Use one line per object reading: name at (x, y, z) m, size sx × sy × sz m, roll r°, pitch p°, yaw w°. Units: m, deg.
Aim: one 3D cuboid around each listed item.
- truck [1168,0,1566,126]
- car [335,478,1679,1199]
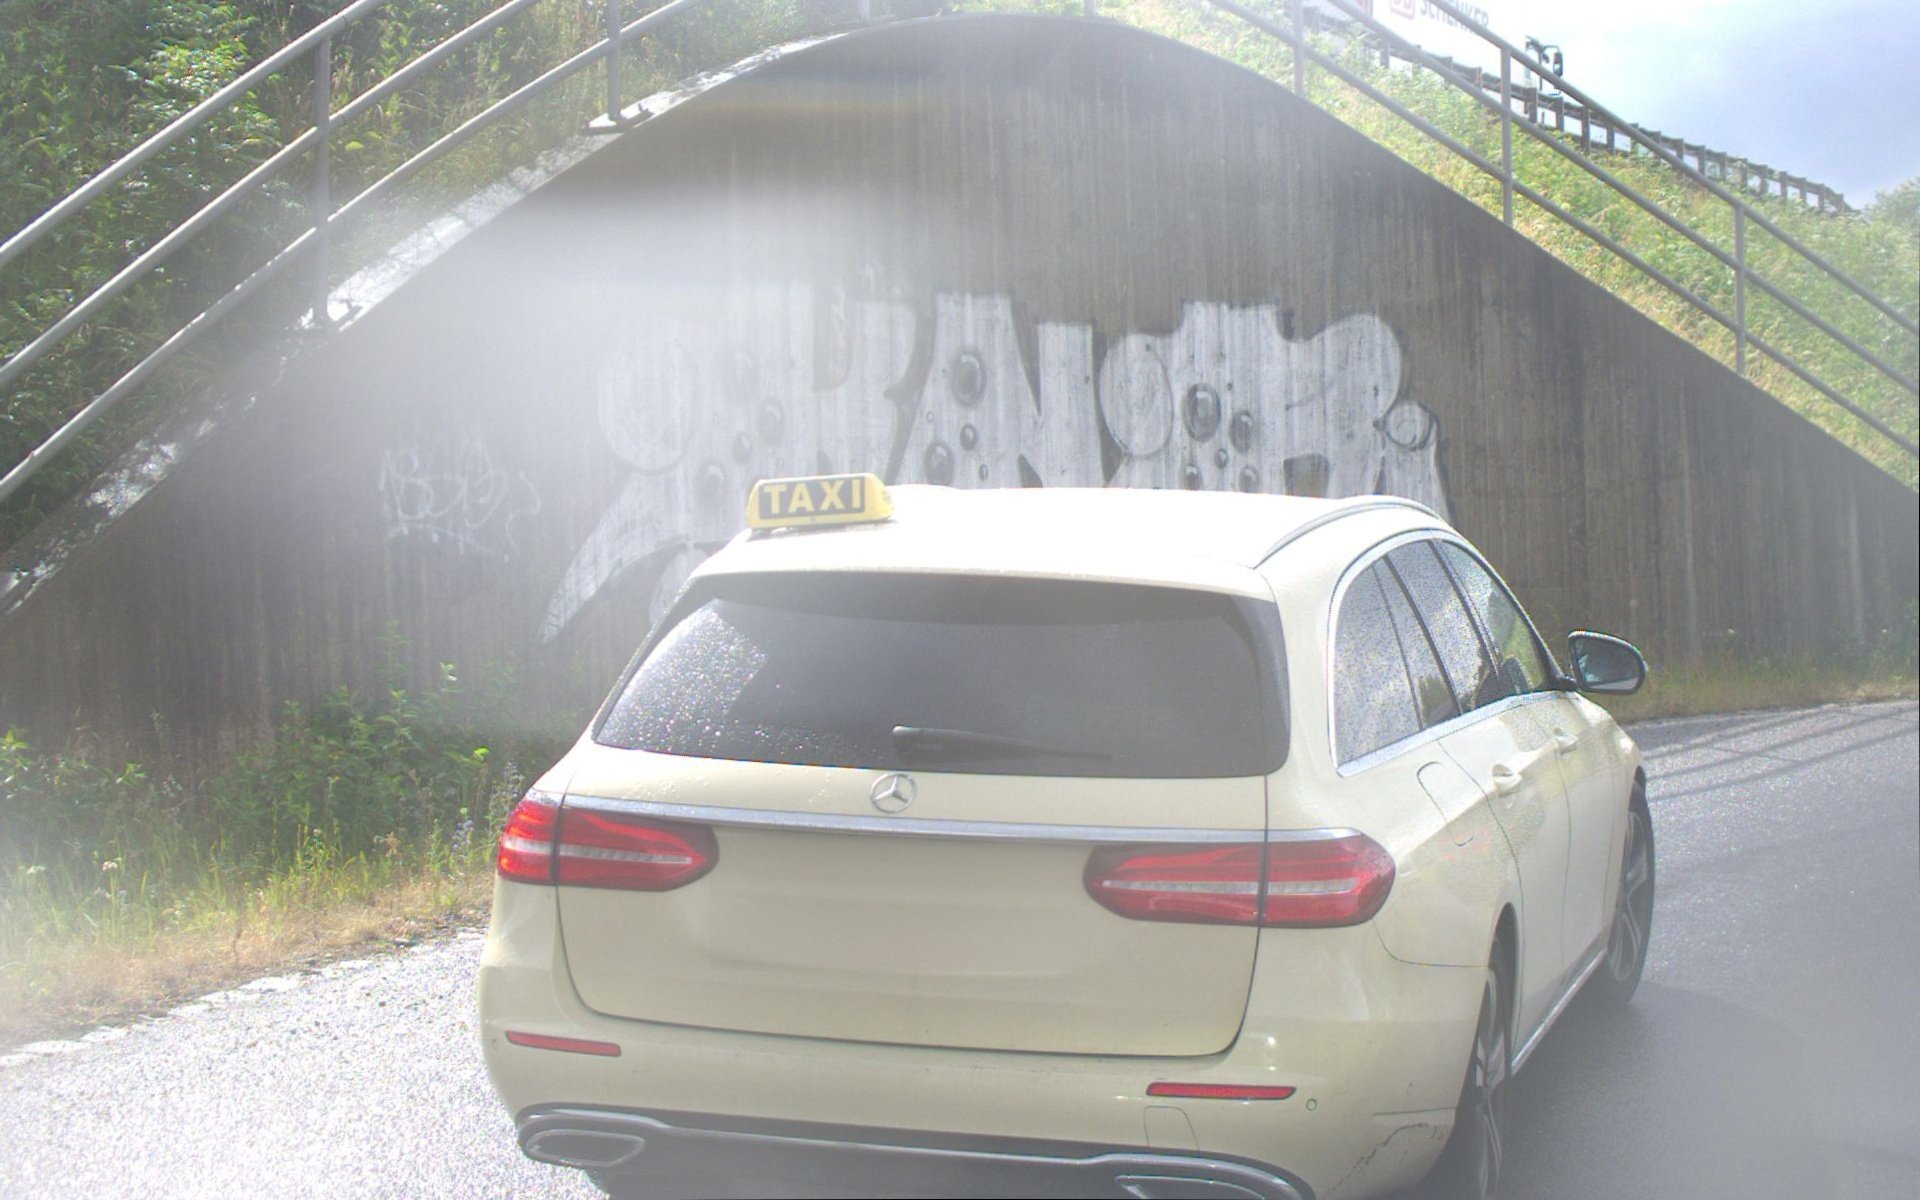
truck at (6.491, -9.859, 52.988) m, size 3.185 × 3.952 × 9.224 m, roll 2°, pitch 1°, yaw 26°
car at (0.487, 0.485, 7.841) m, size 1.917 × 1.502 × 4.593 m, roll 1°, pitch 2°, yaw 16°
